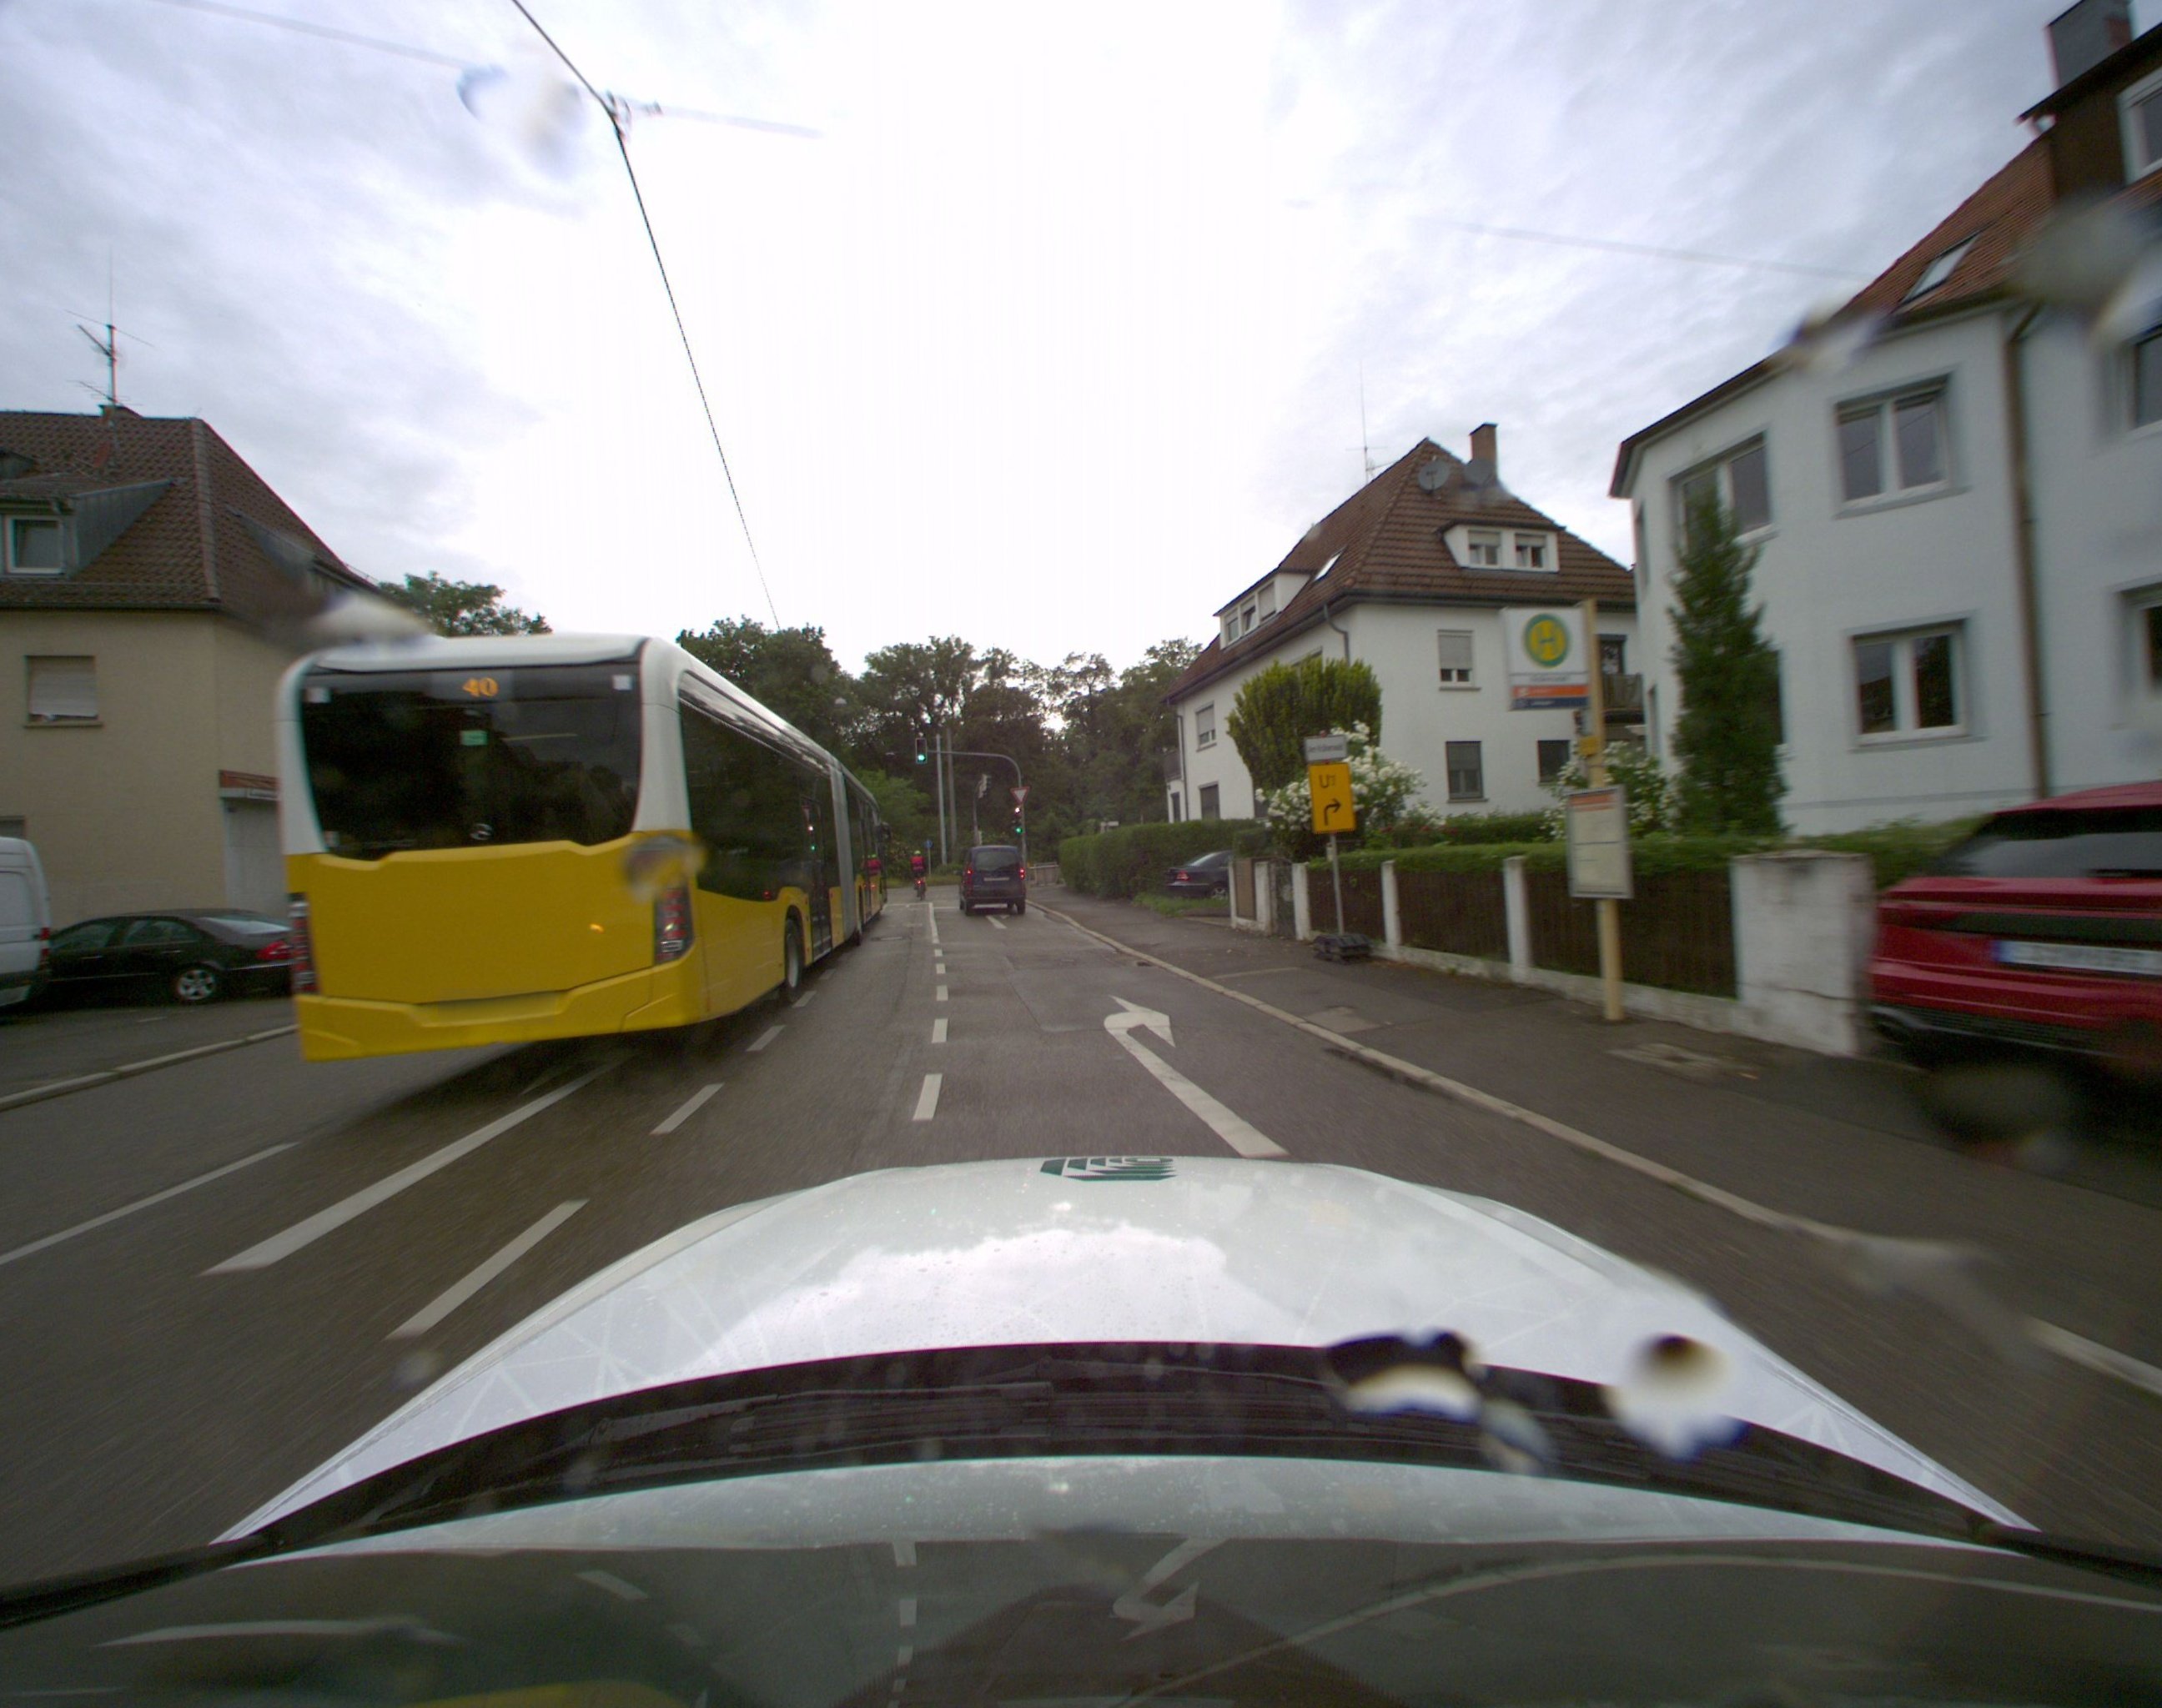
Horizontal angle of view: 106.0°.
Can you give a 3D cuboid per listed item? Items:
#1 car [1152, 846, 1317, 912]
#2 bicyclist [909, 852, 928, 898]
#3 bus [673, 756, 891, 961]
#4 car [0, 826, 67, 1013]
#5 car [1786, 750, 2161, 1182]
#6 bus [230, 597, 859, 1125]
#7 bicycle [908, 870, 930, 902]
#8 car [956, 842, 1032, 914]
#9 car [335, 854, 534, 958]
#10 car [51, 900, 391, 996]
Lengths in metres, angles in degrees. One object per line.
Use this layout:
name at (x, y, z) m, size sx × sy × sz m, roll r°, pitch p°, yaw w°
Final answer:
car at (3.865, 0.595, 20.679) m, size 3.746 × 1.388 × 1.610 m, roll -3°, pitch 2°, yaw -13°
bicyclist at (-6.022, 0.765, 30.218) m, size 0.578 × 1.652 × 1.046 m, roll -1°, pitch 0°, yaw -7°
bus at (-6.173, 0.071, 18.540) m, size 2.900 × 3.398 × 9.009 m, roll -3°, pitch 0°, yaw -10°
car at (-14.873, 0.868, 8.584) m, size 1.993 × 2.448 × 5.478 m, roll -1°, pitch 0°, yaw -8°
car at (6.201, 0.334, 4.215) m, size 4.084 × 1.750 × 1.988 m, roll -4°, pitch 0°, yaw -18°
bus at (-4.675, 0.001, 9.729) m, size 2.675 × 3.398 × 8.655 m, roll -3°, pitch 0°, yaw -8°
bicycle at (-6.027, 1.179, 30.323) m, size 0.578 × 1.096 × 2.149 m, roll -1°, pitch 0°, yaw -6°
car at (-2.550, 0.662, 23.050) m, size 1.809 × 1.797 × 3.985 m, roll -2°, pitch -1°, yaw -10°
car at (-17.508, 1.285, 22.509) m, size 1.995 × 2.448 × 5.472 m, roll -1°, pitch 0°, yaw -12°
car at (-15.366, 1.631, 14.857) m, size 3.831 × 1.344 × 1.791 m, roll -1°, pitch 0°, yaw -21°
